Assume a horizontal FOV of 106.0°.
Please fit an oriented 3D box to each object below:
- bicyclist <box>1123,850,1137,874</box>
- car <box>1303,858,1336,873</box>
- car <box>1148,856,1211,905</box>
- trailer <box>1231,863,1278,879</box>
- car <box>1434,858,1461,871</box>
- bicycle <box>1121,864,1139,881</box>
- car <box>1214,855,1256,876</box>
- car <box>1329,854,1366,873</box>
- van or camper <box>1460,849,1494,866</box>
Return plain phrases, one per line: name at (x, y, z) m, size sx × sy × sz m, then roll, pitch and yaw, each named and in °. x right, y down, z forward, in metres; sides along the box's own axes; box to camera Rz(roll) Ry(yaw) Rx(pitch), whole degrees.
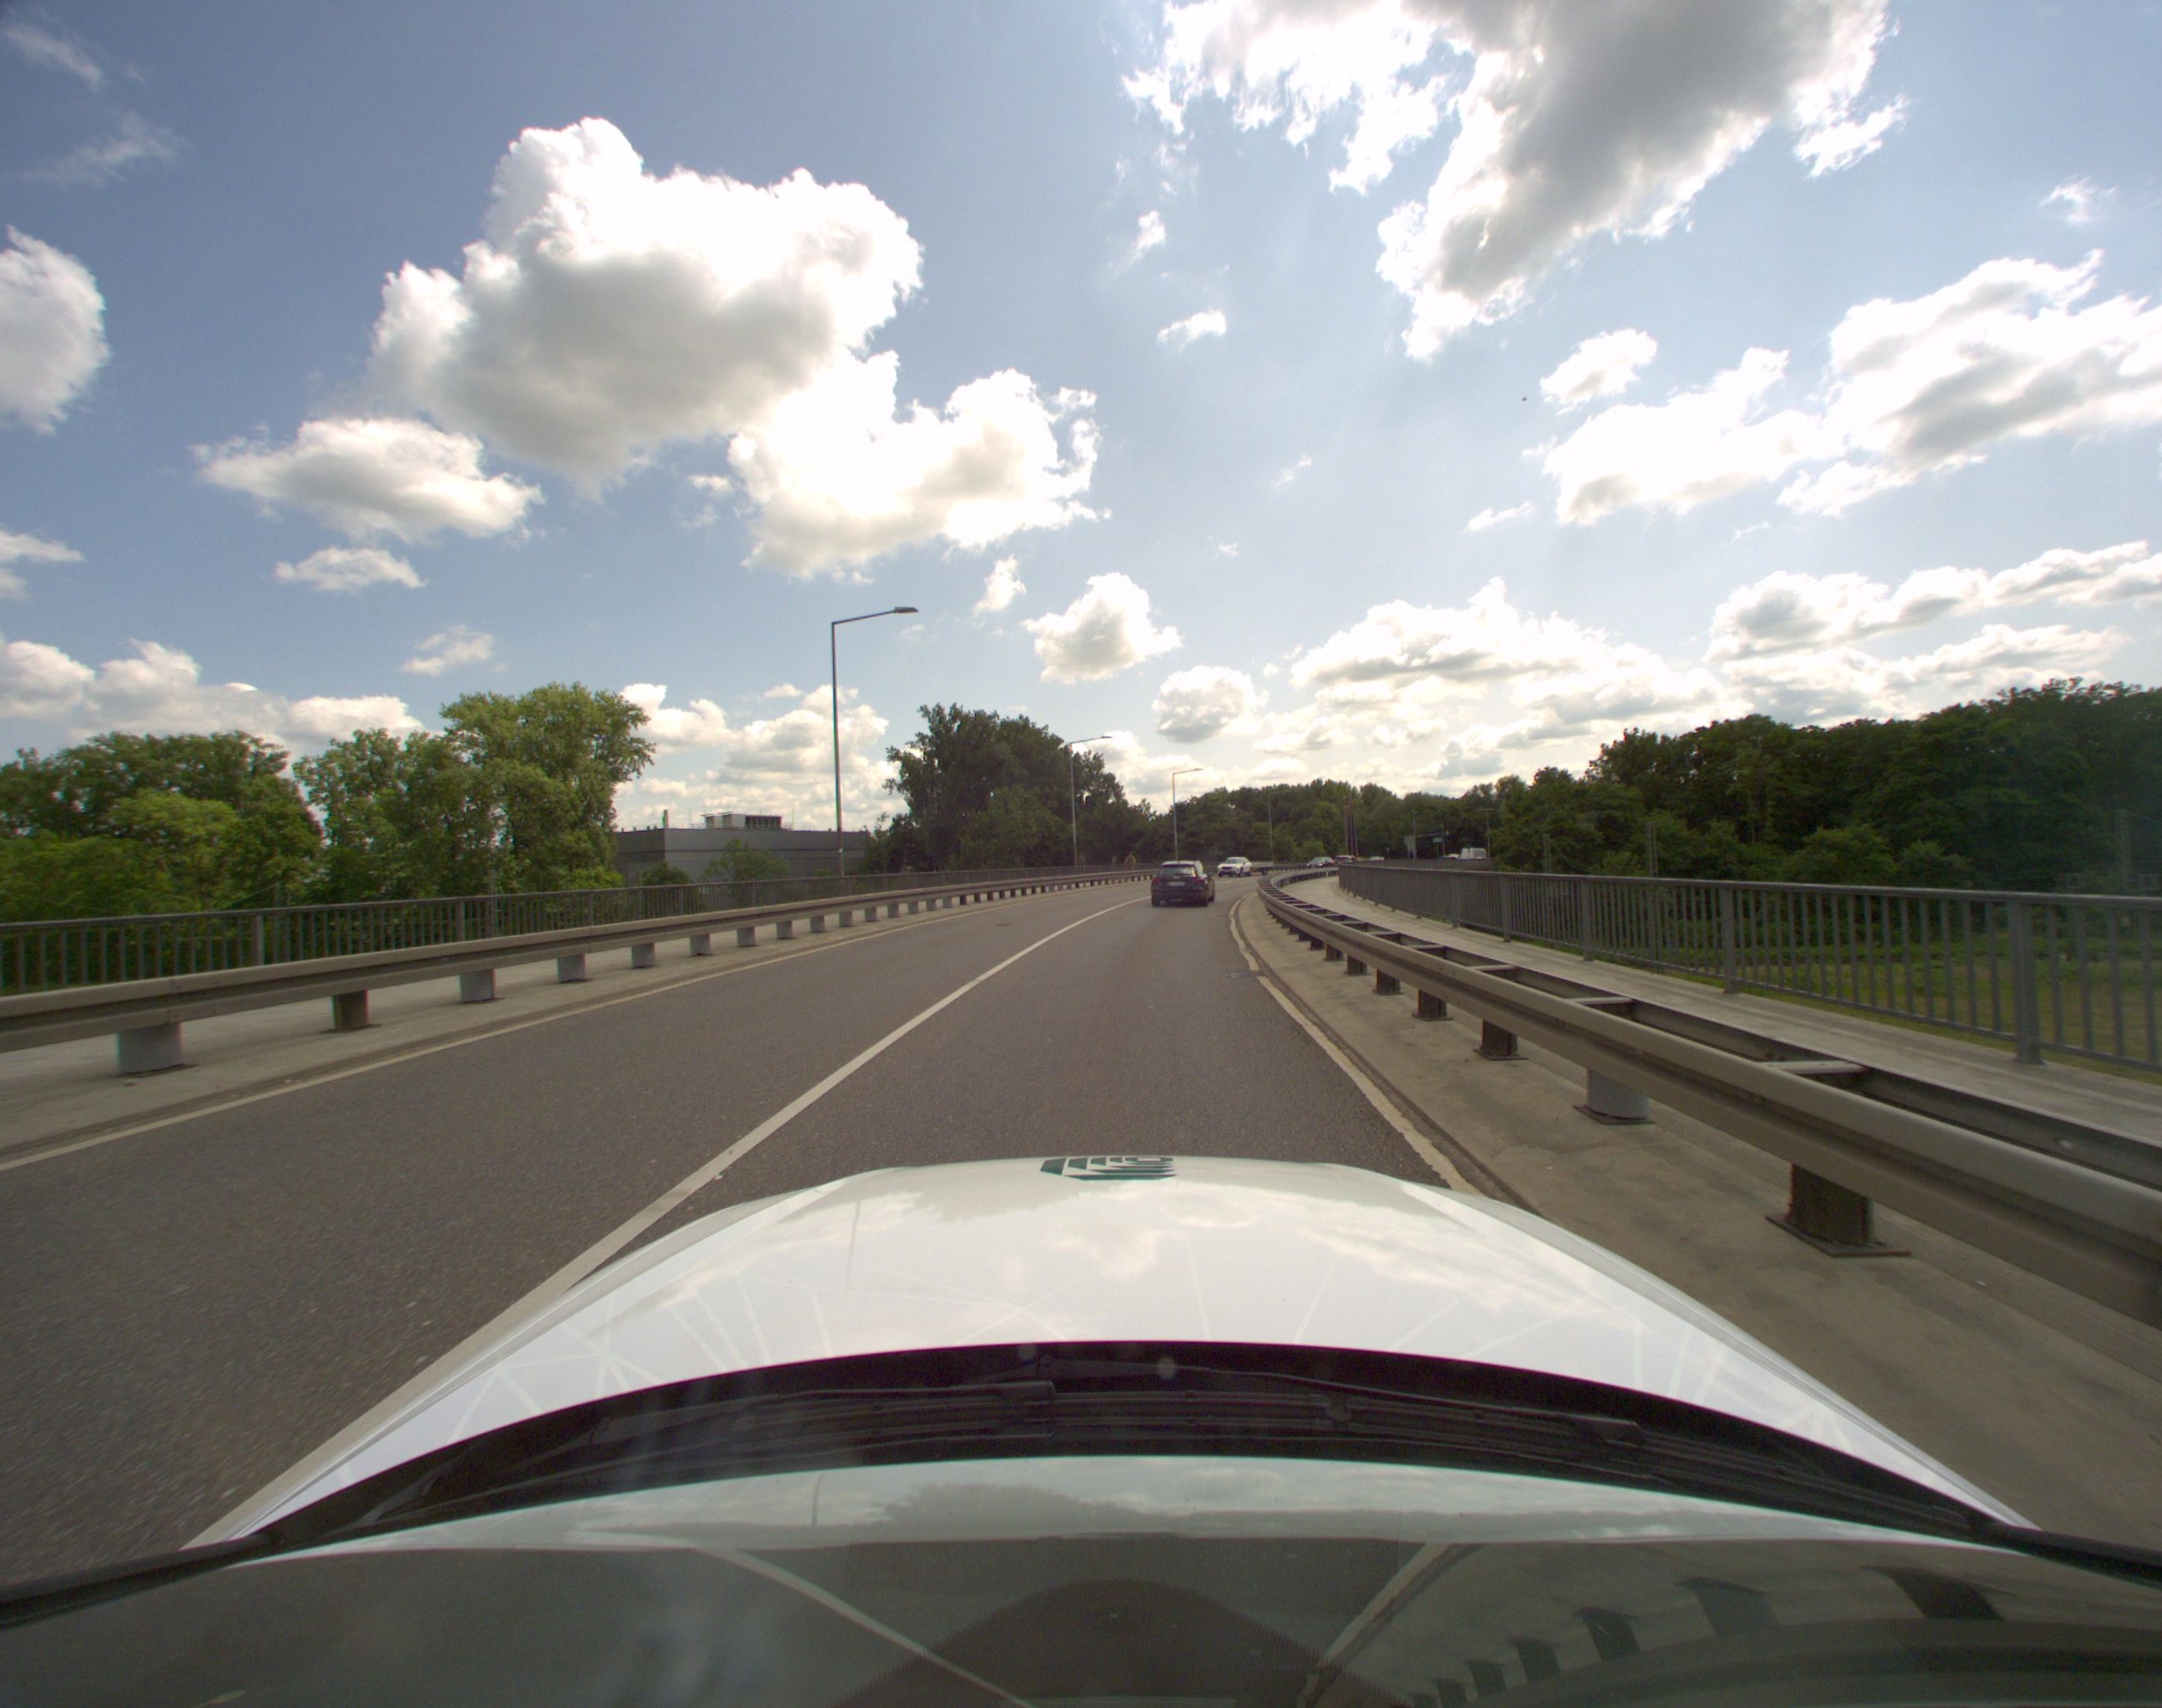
bicyclist at (3.341, 0.545, 55.119) m, size 0.761 × 1.602 × 0.951 m, roll -1°, pitch -1°, yaw 14°
car at (25.395, 1.185, 86.582) m, size 1.799 × 1.451 × 4.767 m, roll 0°, pitch 0°, yaw 36°
car at (3.361, 0.869, 27.236) m, size 1.816 × 1.492 × 4.218 m, roll -1°, pitch -1°, yaw 10°
trailer at (14.502, 1.402, 67.816) m, size 2.025 × 1.209 × 6.020 m, roll 0°, pitch 0°, yaw 30°
car at (45.381, 1.277, 100.896) m, size 3.877 × 1.651 × 1.718 m, roll 0°, pitch 0°, yaw -43°
bicycle at (3.316, 1.245, 54.987) m, size 0.763 × 1.095 × 2.124 m, roll -1°, pitch -1°, yaw 15°
car at (12.001, 0.876, 63.257) m, size 1.789 × 1.535 × 4.376 m, roll 0°, pitch 0°, yaw 30°
car at (24.545, 0.829, 74.966) m, size 1.804 × 1.651 × 3.879 m, roll 0°, pitch 0°, yaw 42°
van or camper at (55.650, 0.468, 114.326) m, size 5.266 × 2.340 × 2.254 m, roll 0°, pitch 0°, yaw -38°
